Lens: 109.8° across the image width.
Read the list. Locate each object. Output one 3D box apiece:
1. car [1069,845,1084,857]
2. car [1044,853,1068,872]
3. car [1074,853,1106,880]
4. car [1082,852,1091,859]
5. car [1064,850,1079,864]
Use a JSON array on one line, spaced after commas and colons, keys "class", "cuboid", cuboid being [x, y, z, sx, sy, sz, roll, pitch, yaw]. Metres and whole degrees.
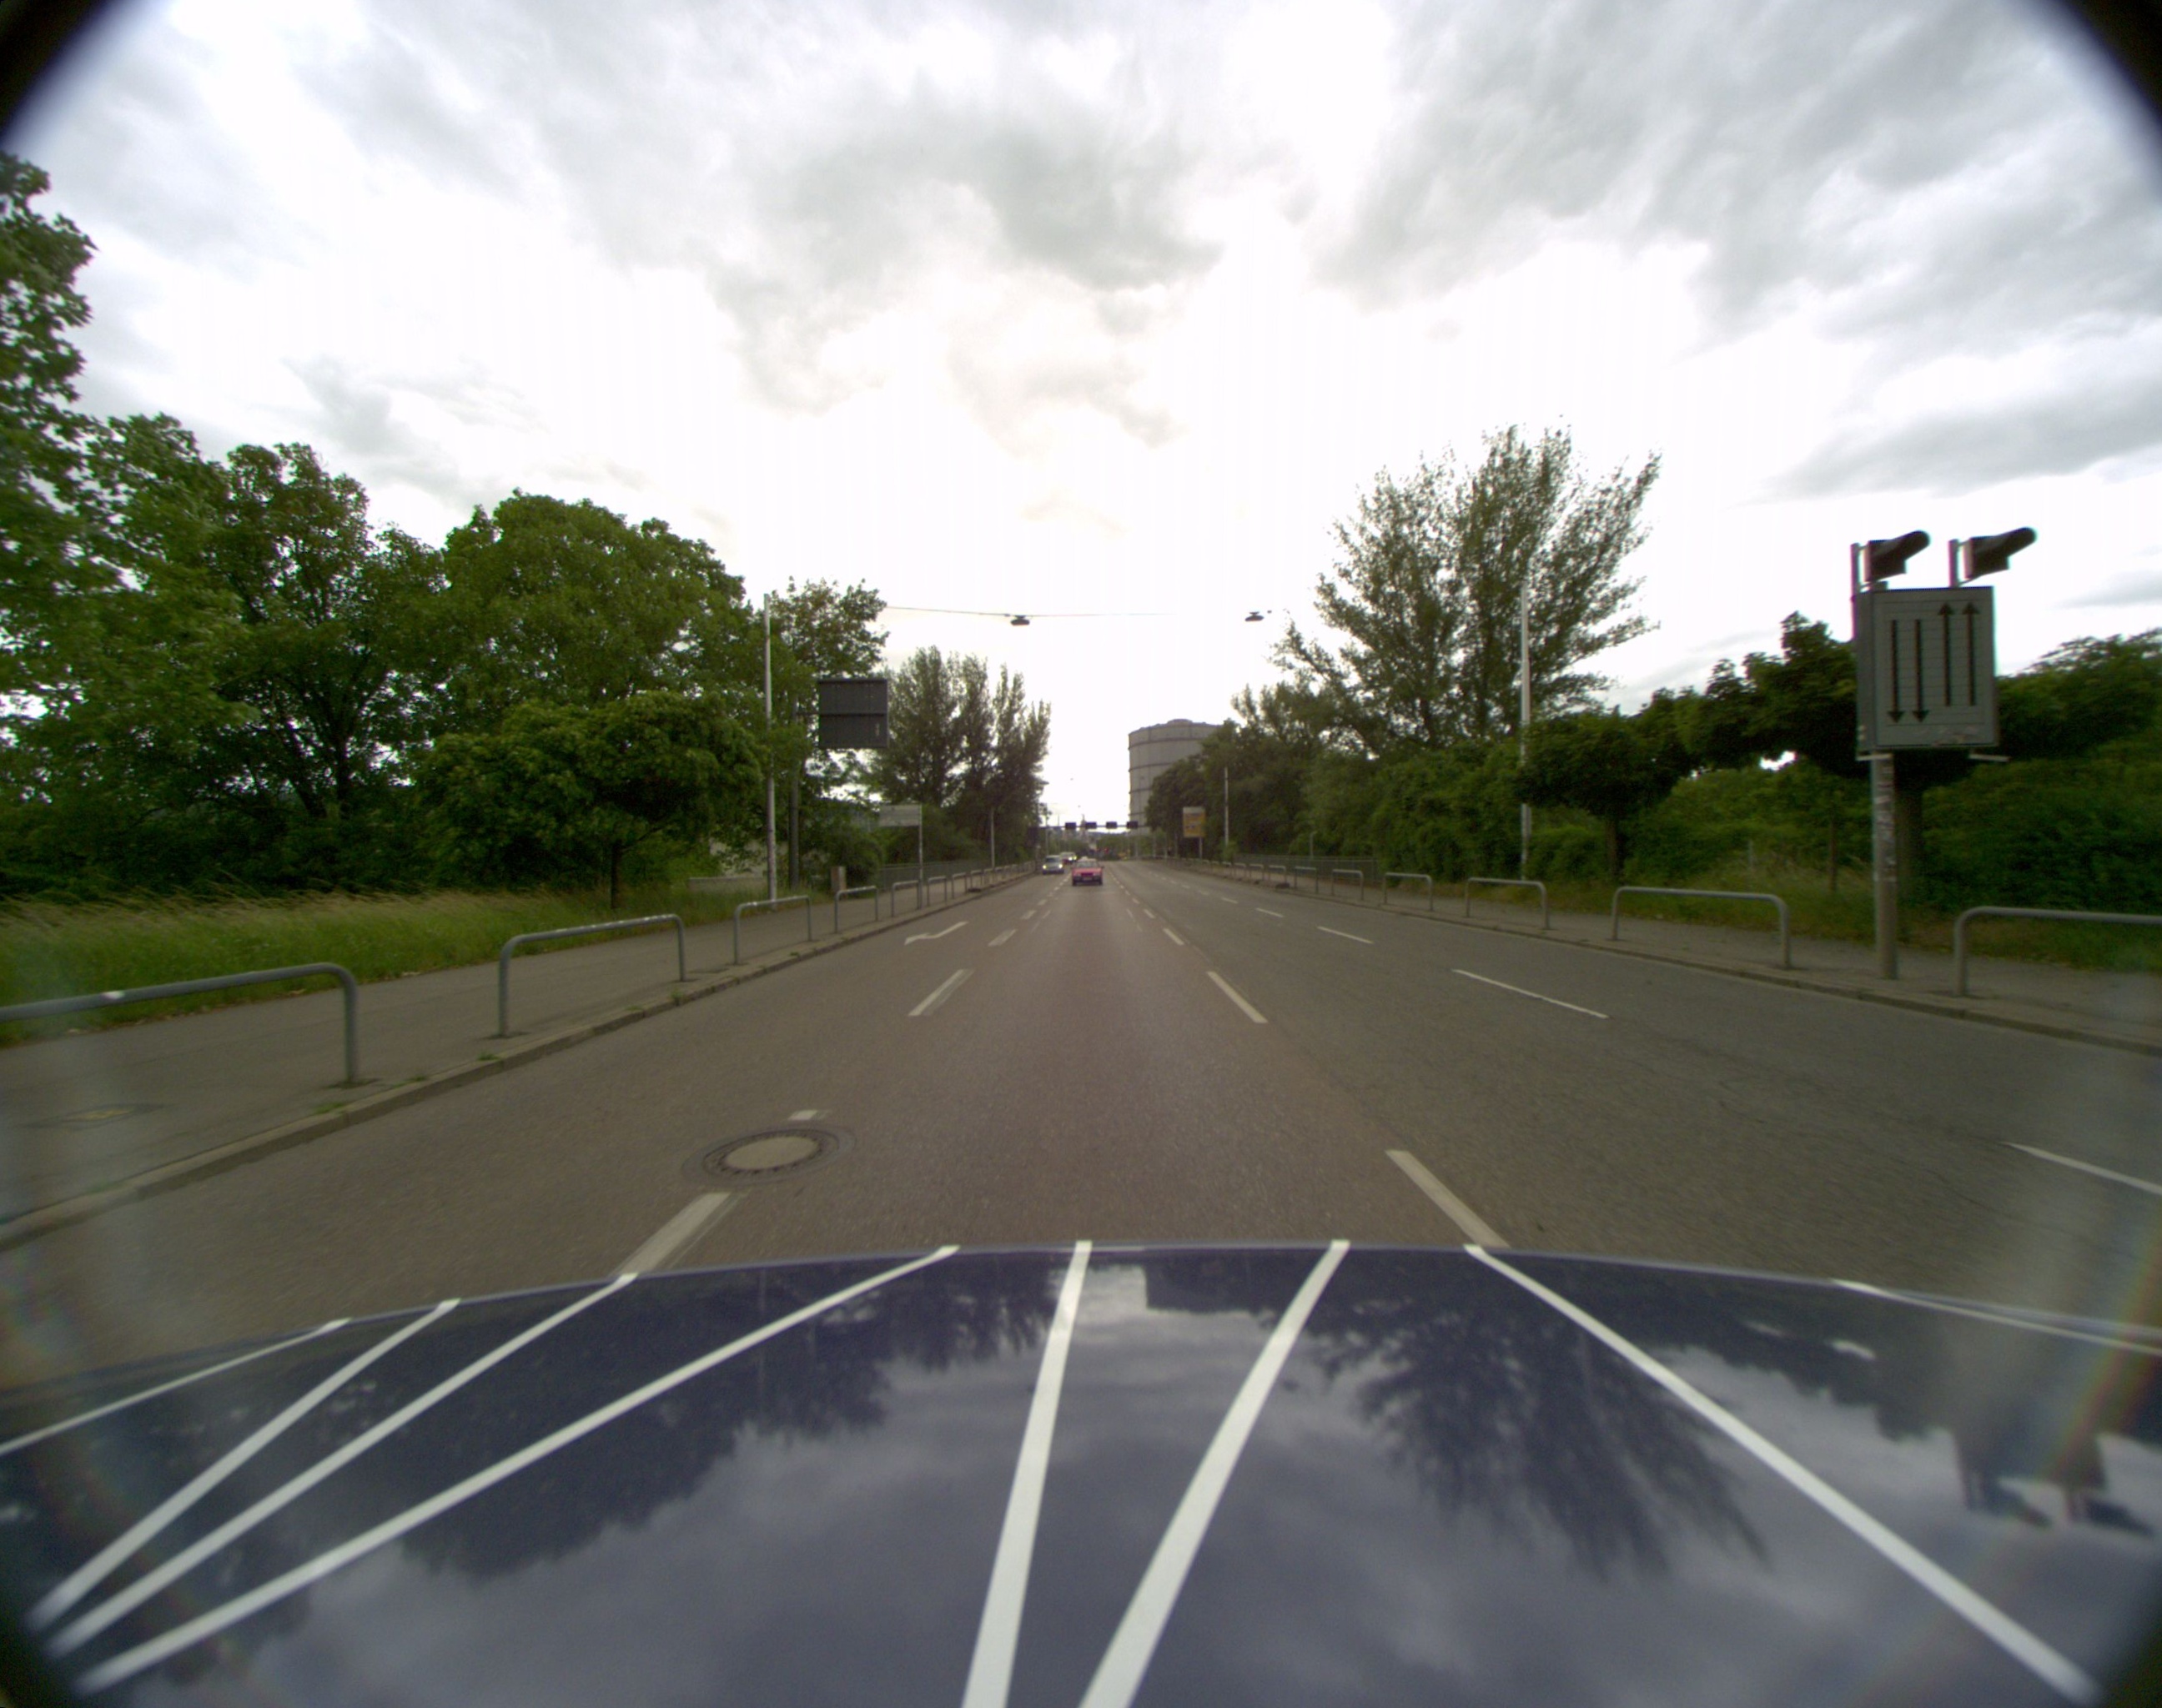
[{"class": "car", "cuboid": [-0.612, -0.469, 113.767, 1.998, 1.775, 4.001, -1, 0, 2]}, {"class": "car", "cuboid": [-2.129, 0.730, 65.840, 1.771, 1.565, 4.000, -1, 1, 1]}, {"class": "car", "cuboid": [0.536, 0.662, 42.619, 1.696, 1.434, 4.000, 1, 0, 1]}, {"class": "car", "cuboid": [1.567, 0.366, 203.372, 1.998, 1.792, 4.001, -3, 0, 4]}, {"class": "car", "cuboid": [-1.137, 0.323, 96.511, 1.776, 1.696, 4.000, -2, 0, 0]}]
